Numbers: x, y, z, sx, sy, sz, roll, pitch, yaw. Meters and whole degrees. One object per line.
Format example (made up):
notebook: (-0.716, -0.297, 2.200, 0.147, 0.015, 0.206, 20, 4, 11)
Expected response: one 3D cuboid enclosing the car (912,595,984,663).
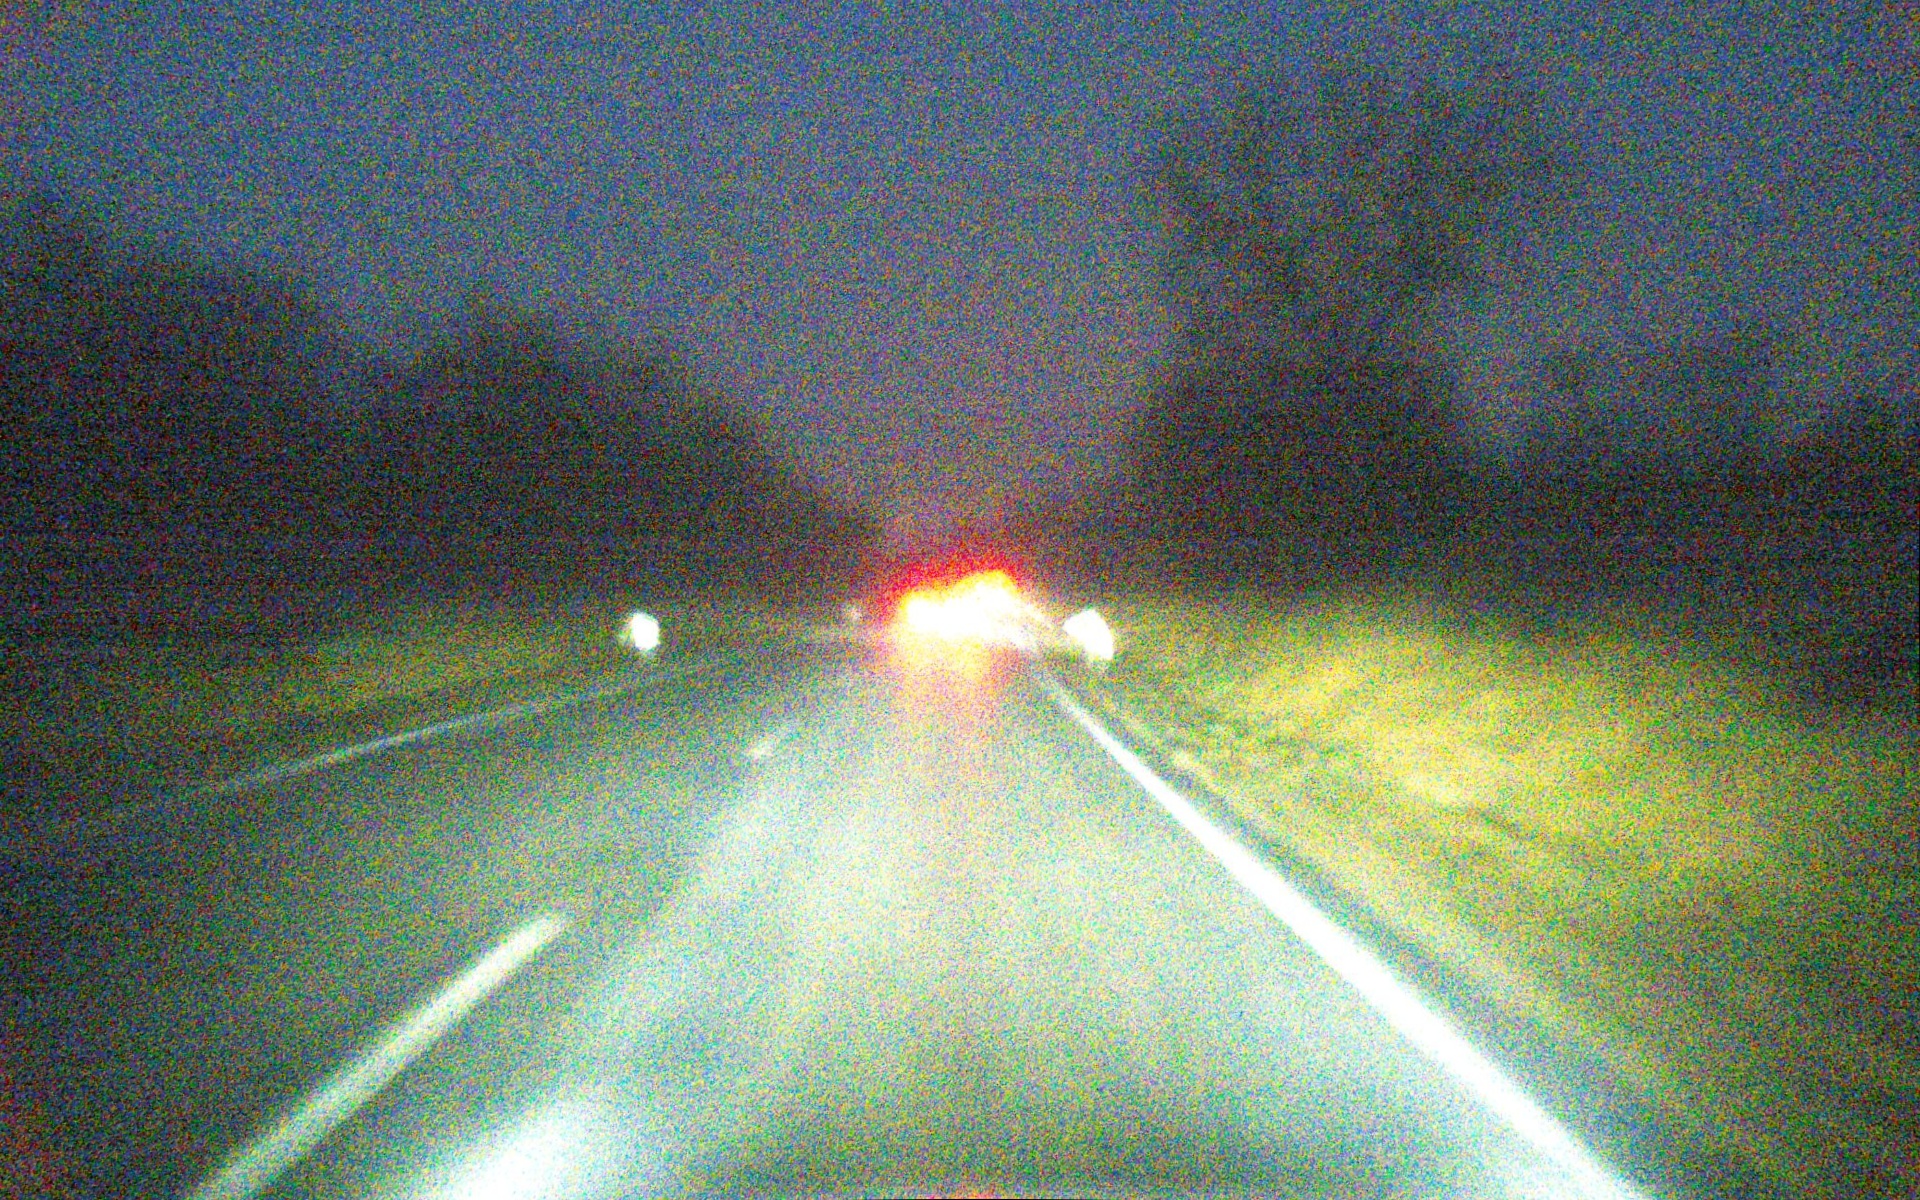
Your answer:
car: (-0.278, 0.747, 44.814, 1.804, 1.771, 4.001, 0, 0, 2)
